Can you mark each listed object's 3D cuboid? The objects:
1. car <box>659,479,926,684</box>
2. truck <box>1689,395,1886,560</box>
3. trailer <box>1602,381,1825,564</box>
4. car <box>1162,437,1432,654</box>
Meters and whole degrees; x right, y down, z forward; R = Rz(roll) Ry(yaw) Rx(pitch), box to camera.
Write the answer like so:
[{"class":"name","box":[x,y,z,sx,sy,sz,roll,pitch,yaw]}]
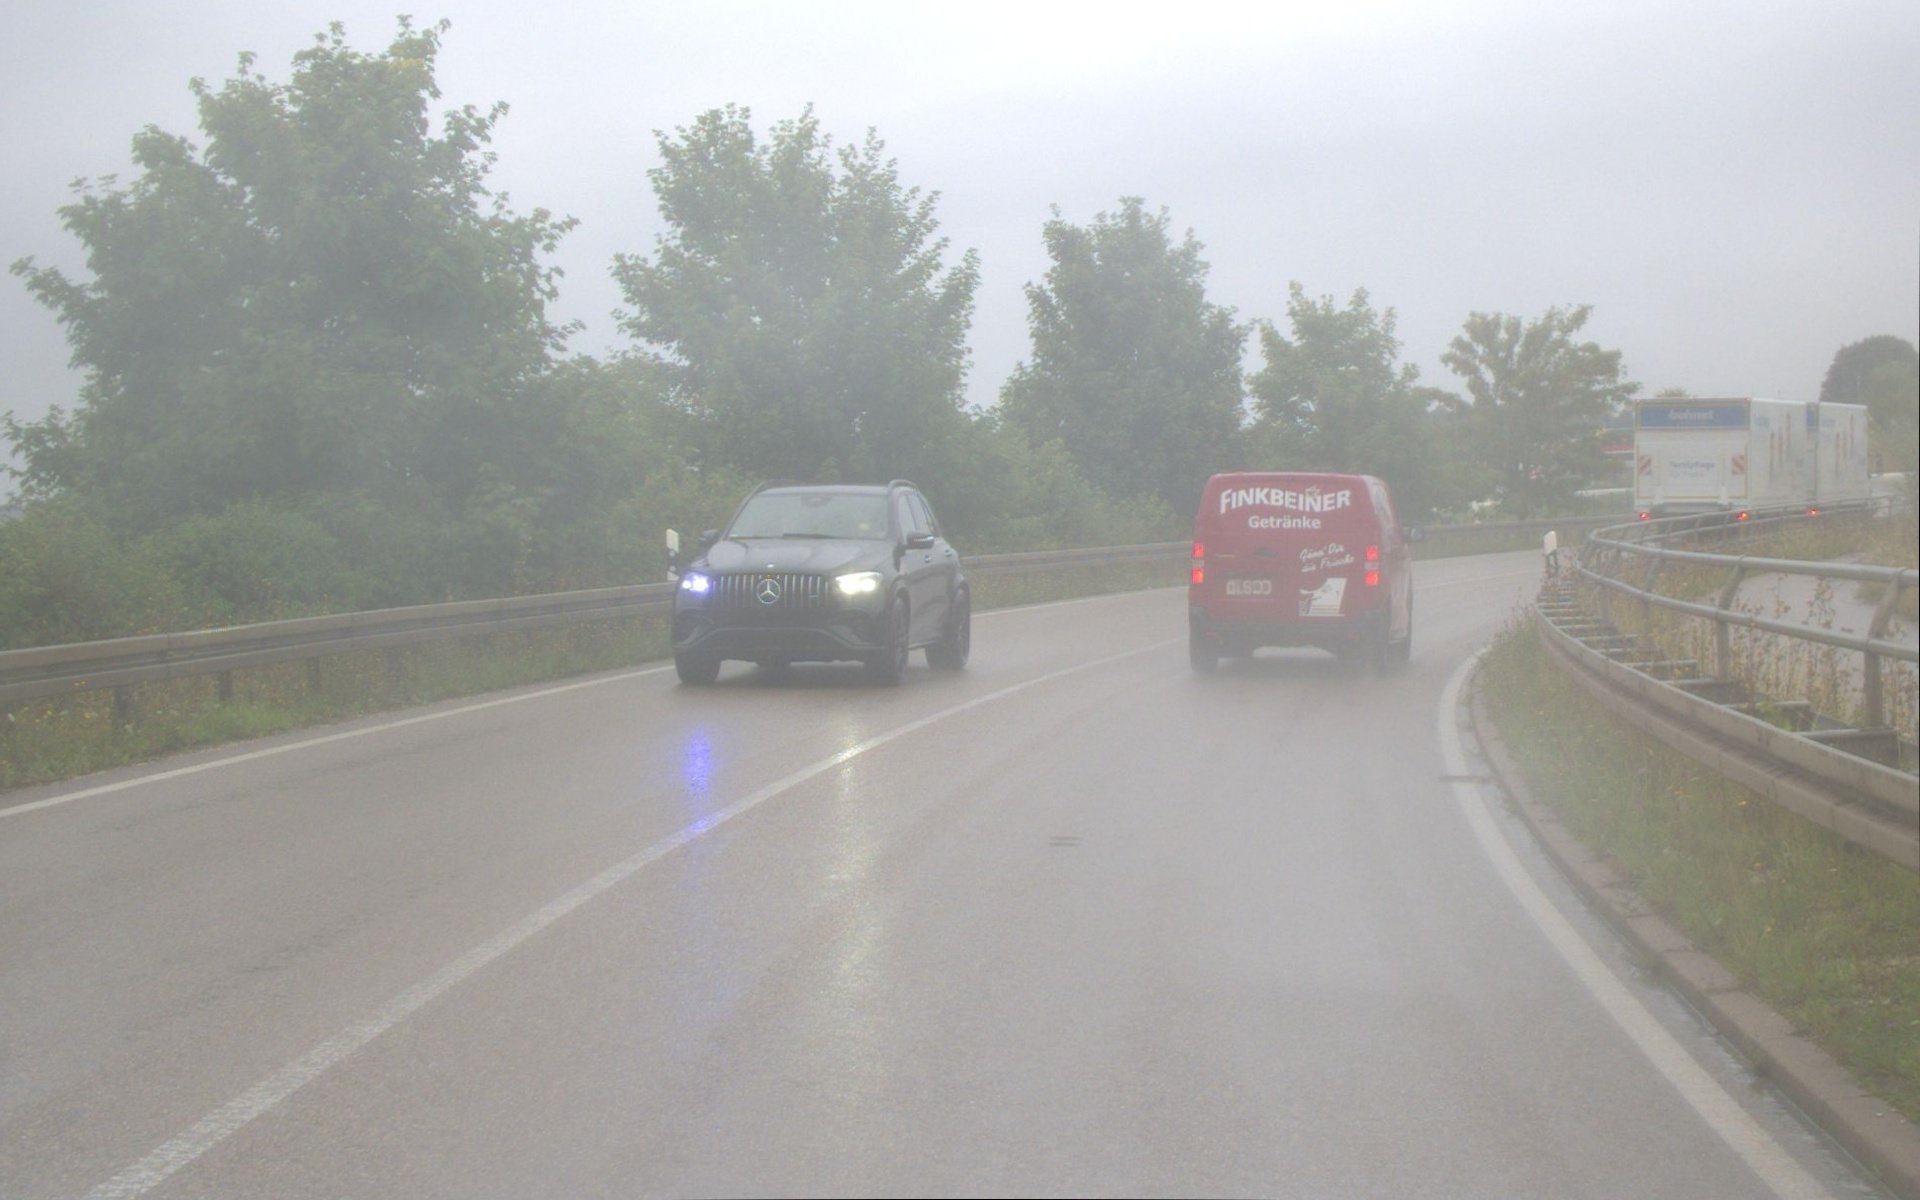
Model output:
[{"class":"car","box":[-1.426,-0.199,30.854,1.994,1.721,4.000,0,1,3]},{"class":"truck","box":[20.868,-3.011,86.281,3.205,3.908,8.728,1,1,24]},{"class":"trailer","box":[17.271,-2.834,78.288,3.205,3.908,8.728,1,1,24]},{"class":"car","box":[3.362,-0.586,33.574,1.995,1.919,4.141,-2,2,14]}]
